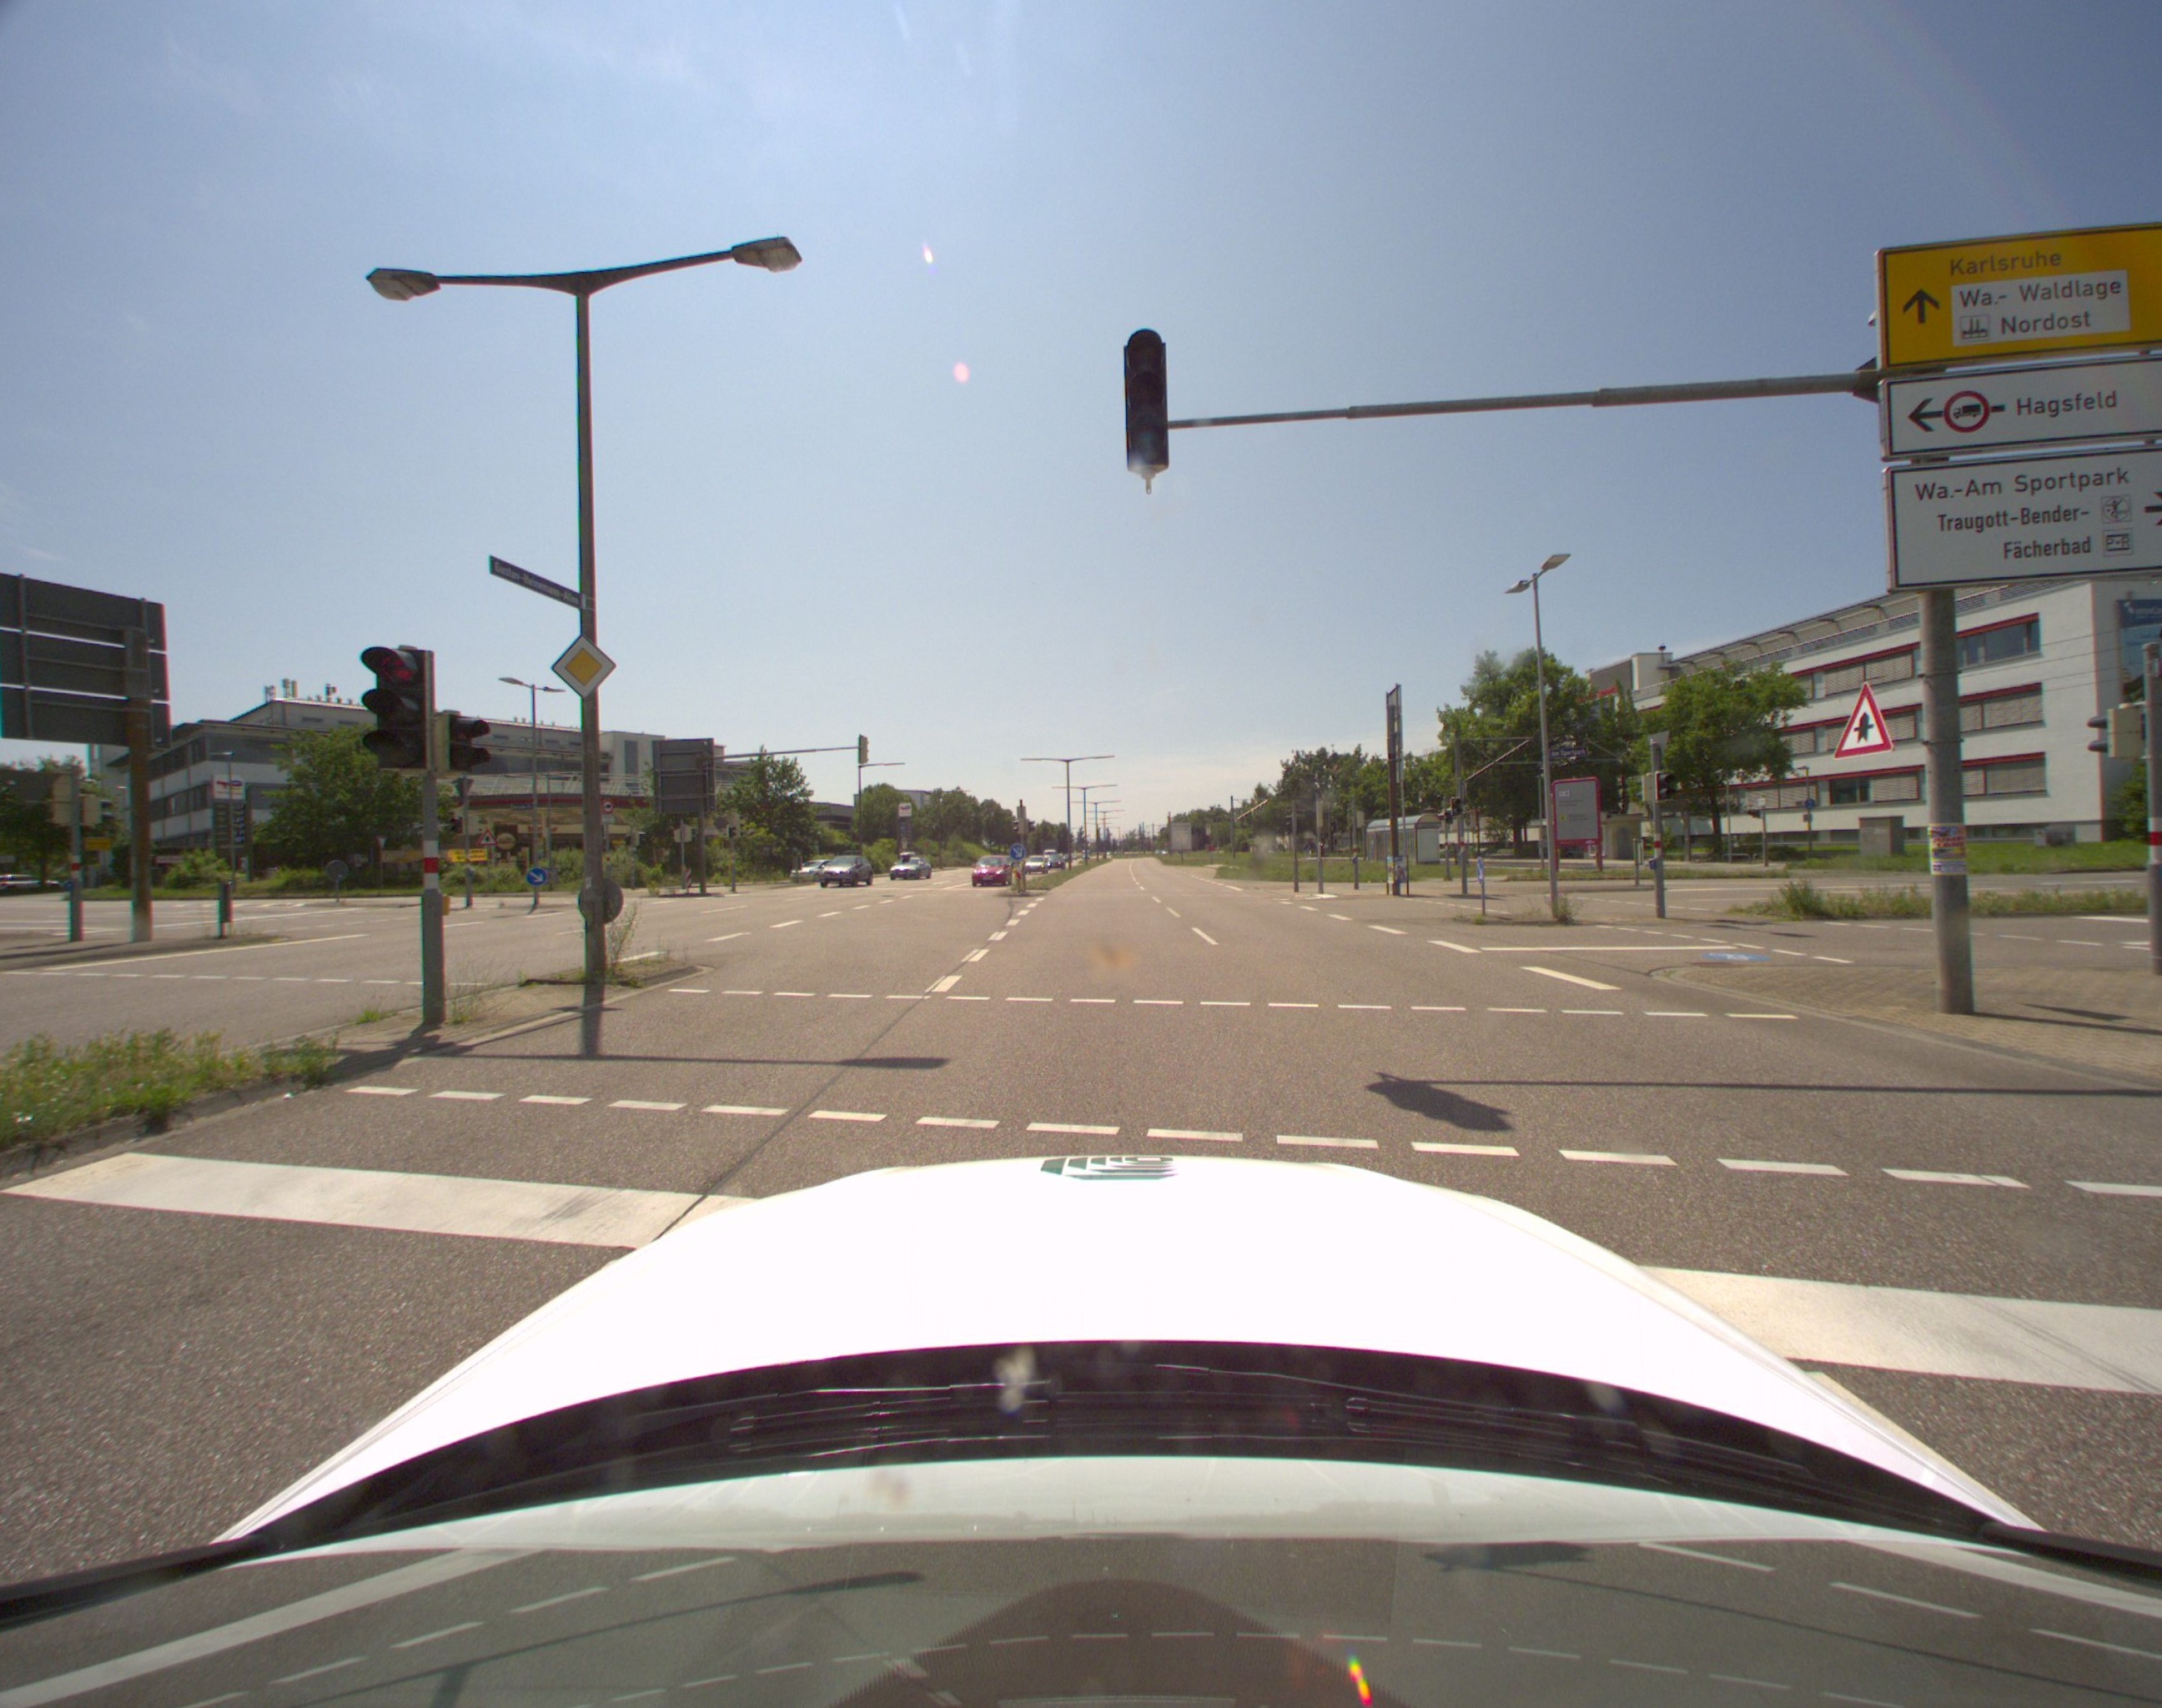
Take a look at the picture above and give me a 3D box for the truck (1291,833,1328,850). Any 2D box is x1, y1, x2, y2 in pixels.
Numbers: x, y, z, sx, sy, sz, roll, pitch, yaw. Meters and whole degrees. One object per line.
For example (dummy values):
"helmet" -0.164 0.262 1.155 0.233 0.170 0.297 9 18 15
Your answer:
"truck" 41.125 -2.244 146.797 5.831 2.843 2.316 -3 -1 -5

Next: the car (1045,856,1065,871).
"car" -2.446 0.885 78.452 1.669 1.434 4.192 -1 0 2

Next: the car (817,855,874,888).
"car" -11.995 0.865 41.721 1.652 1.539 4.001 -2 0 1

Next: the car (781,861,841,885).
"car" -17.218 1.200 52.175 1.809 1.449 3.842 -2 -1 15

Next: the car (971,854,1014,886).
"car" -4.434 0.749 41.312 1.652 1.490 4.001 -2 0 1

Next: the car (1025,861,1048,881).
"car" -3.494 1.294 64.480 1.555 1.423 3.855 -1 1 1

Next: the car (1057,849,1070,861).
"car" -2.991 0.193 140.449 1.985 2.014 4.003 0 -1 3

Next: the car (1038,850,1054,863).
"car" -6.195 0.439 145.558 2.240 2.273 5.453 0 0 3

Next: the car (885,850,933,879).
"car" -11.305 0.671 53.807 1.958 1.750 5.023 -2 0 1

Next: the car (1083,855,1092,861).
"car" 1.746 0.944 209.235 1.722 1.458 4.573 -2 0 7
